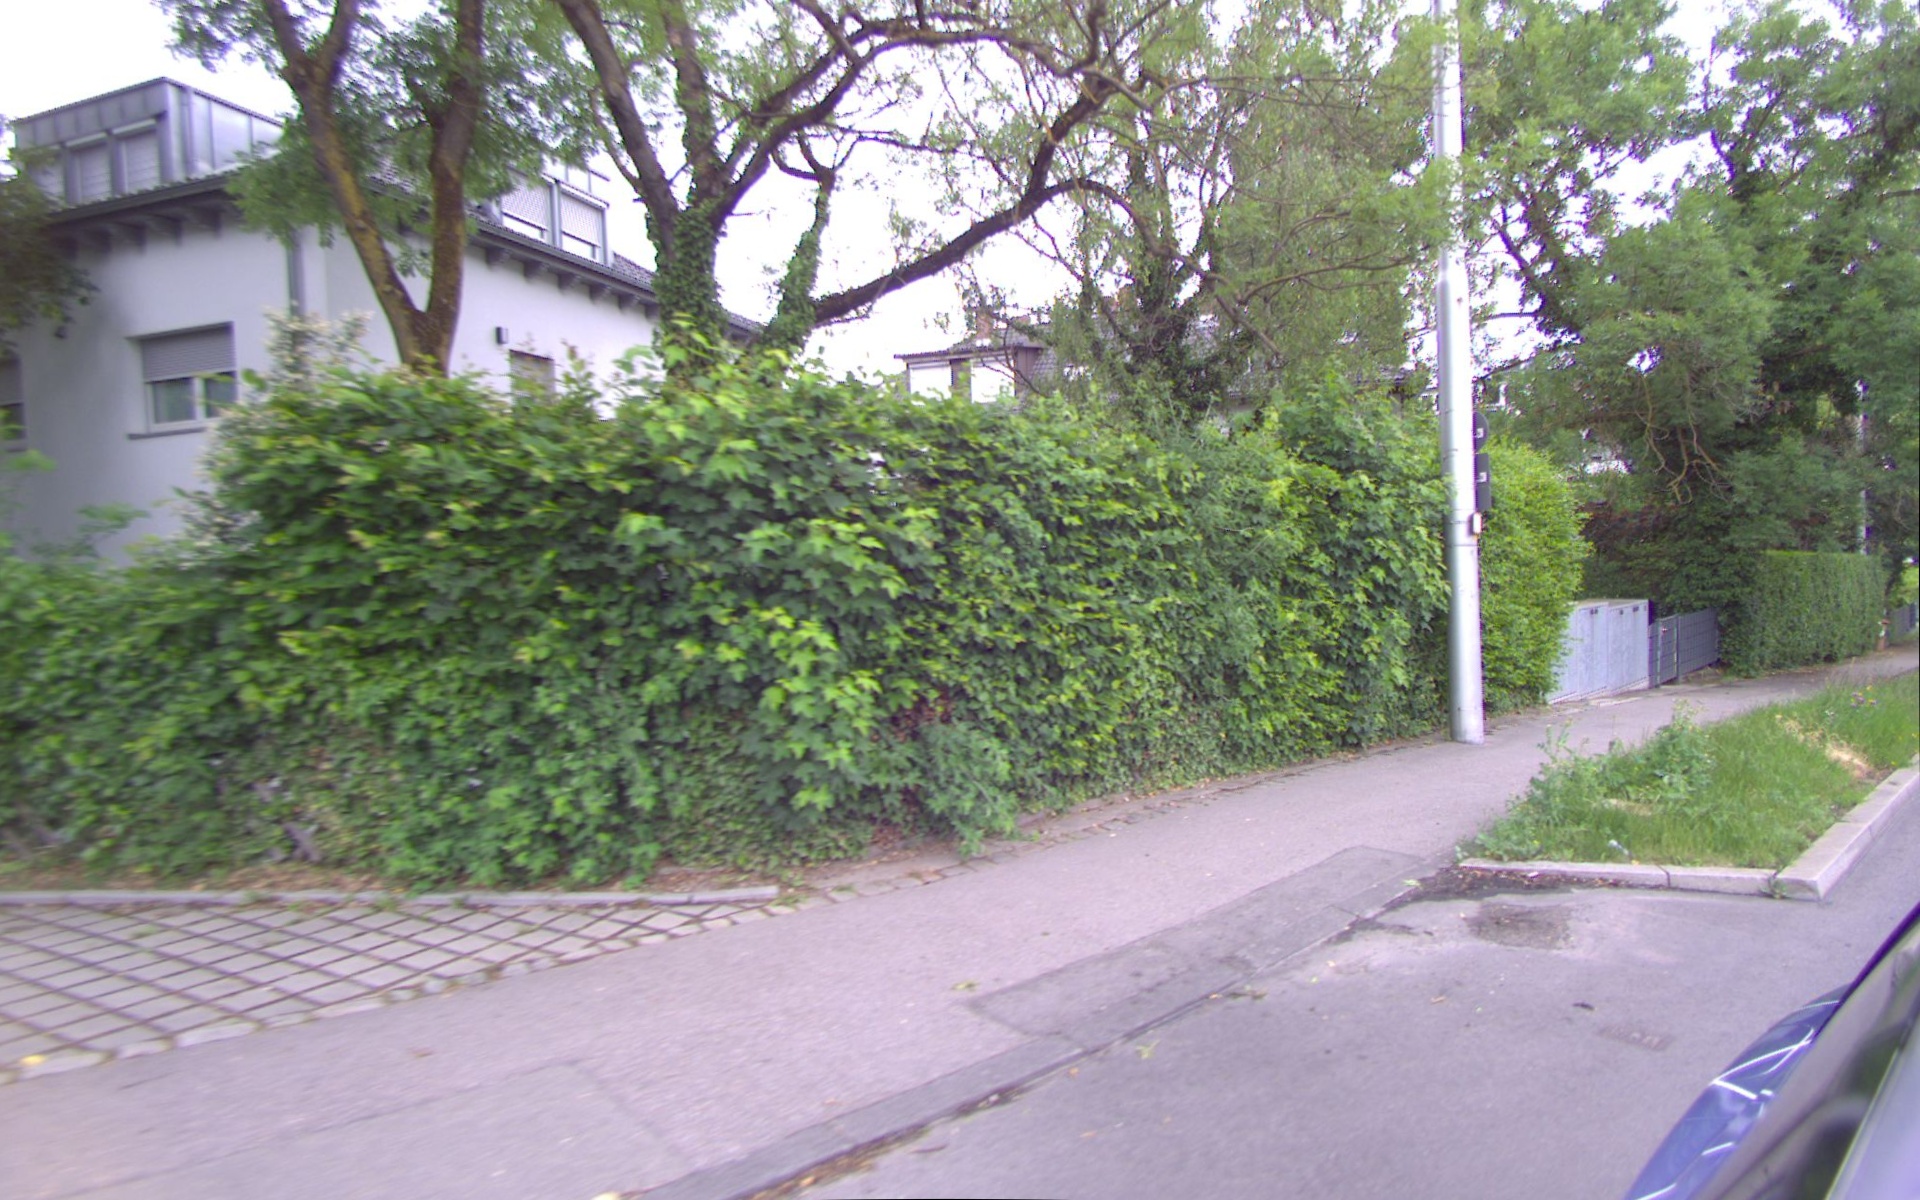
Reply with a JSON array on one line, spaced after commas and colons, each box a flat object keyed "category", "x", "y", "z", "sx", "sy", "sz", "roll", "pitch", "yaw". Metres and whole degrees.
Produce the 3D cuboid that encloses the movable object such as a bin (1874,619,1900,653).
[{"category": "movable object such as a bin", "x": 25.549, "y": 0.991, "z": 27.894, "sx": 0.446, "sy": 0.922, "sz": 0.473, "roll": 1, "pitch": 0, "yaw": -40}]
